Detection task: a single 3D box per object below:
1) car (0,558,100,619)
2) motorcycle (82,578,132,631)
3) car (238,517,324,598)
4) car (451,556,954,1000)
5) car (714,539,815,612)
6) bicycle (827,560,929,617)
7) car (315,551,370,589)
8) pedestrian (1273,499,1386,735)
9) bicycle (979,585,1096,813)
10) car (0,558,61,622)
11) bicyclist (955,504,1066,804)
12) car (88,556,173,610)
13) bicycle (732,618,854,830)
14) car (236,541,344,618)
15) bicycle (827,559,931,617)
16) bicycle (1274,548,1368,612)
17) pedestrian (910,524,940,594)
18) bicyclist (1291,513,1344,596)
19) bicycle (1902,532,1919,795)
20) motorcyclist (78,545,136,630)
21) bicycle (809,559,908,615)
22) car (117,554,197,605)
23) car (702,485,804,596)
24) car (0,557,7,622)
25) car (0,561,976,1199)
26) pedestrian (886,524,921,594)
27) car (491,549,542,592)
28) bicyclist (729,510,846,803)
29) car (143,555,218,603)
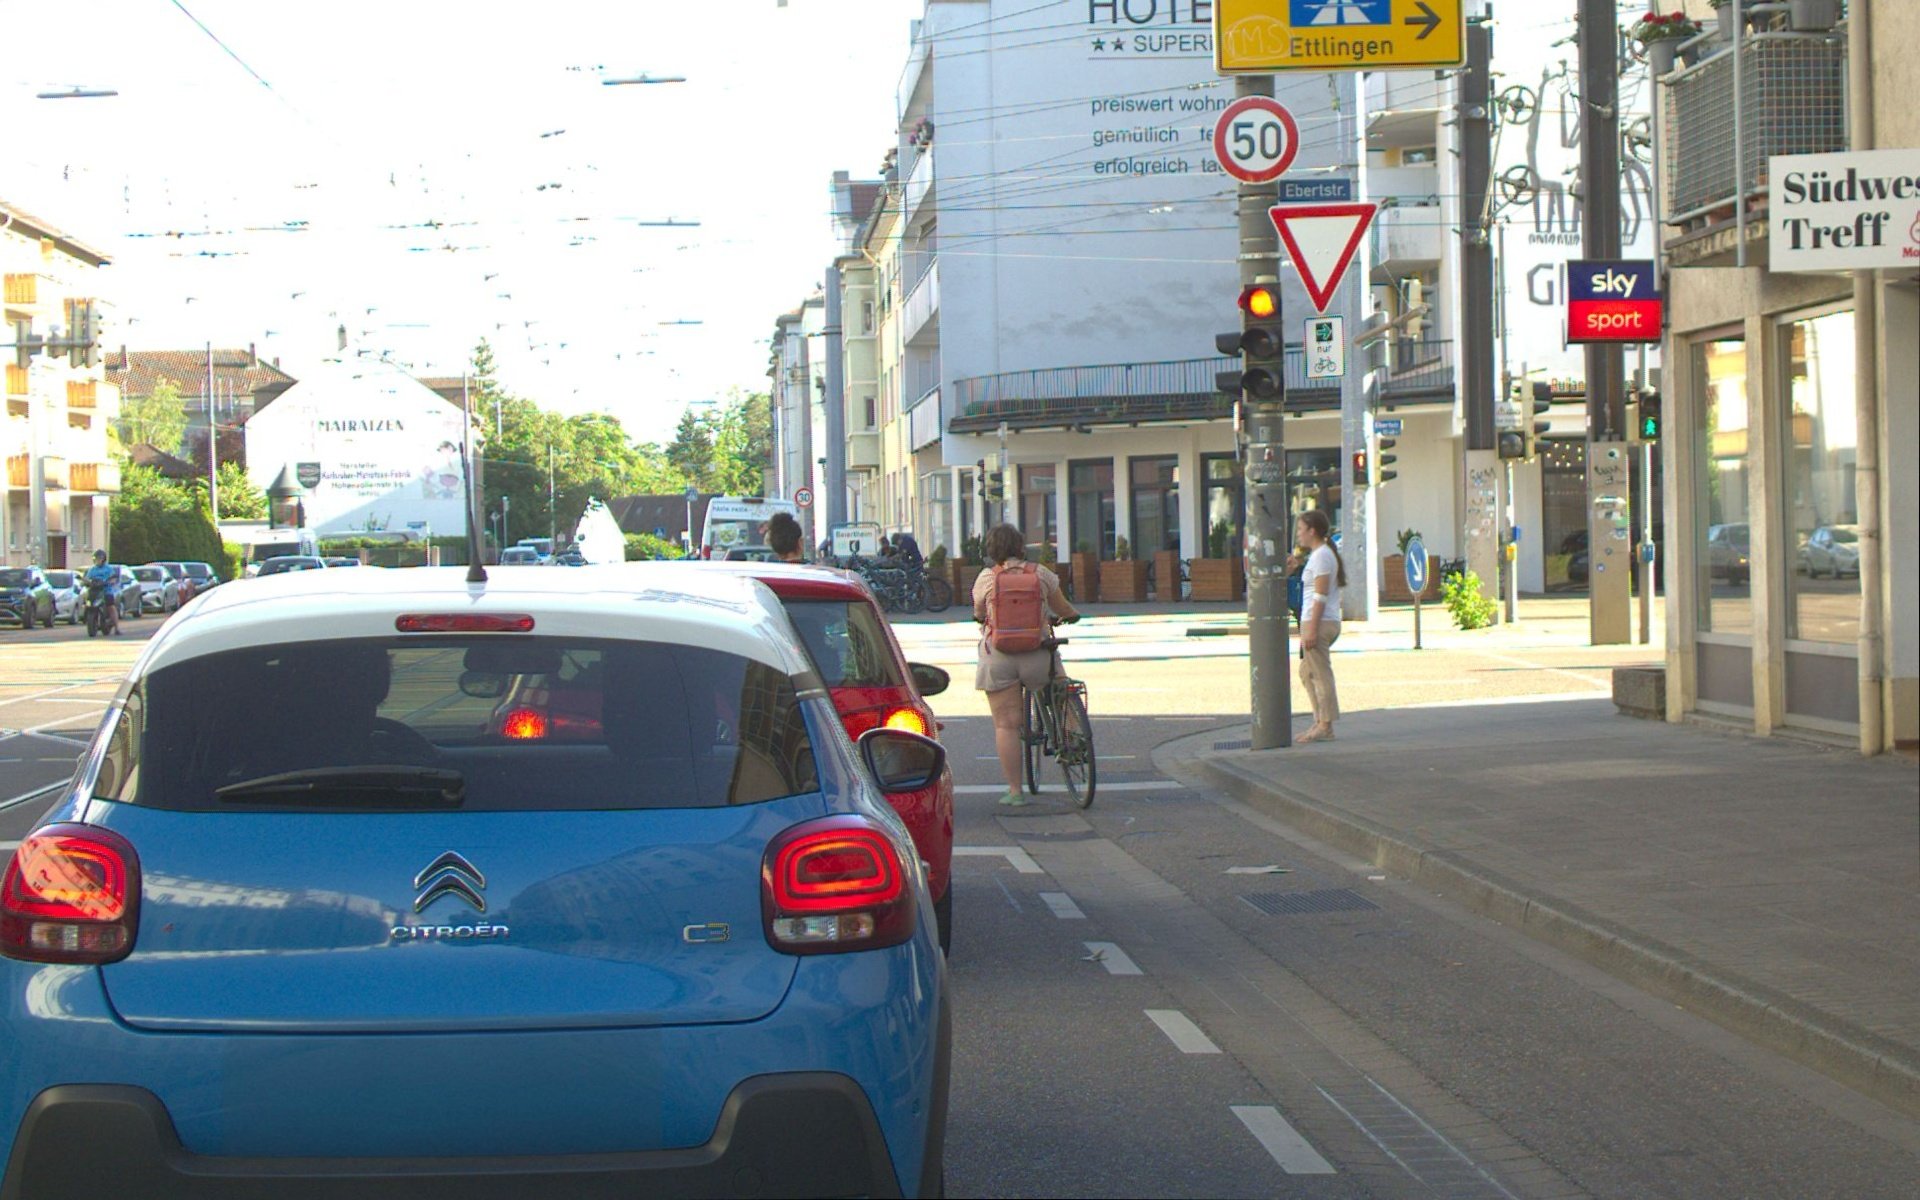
[{"bbox_3d":[-24.300,-0.330,91.946,1.950,1.514,4.001,-1,1,-6],"label":"car"},{"bbox_3d":[-16.689,0.077,67.285,0.751,0.973,2.098,-1,1,-9],"label":"motorcycle"},{"bbox_3d":[-23.655,-1.495,119.935,2.493,2.703,5.839,-1,1,-7],"label":"car"},{"bbox_3d":[-1.003,0.578,13.583,1.680,1.457,4.001,0,1,-4],"label":"car"},{"bbox_3d":[-3.877,-0.509,67.804,1.786,1.354,3.915,-1,1,-6],"label":"car"},{"bbox_3d":[-1.602,-0.230,67.119,1.904,1.061,0.642,-1,1,-7],"label":"bicycle"},{"bbox_3d":[-25.969,-1.269,144.568,1.950,1.514,4.001,-1,1,-6],"label":"car"},{"bbox_3d":[2.605,0.112,24.308,0.751,1.629,0.740,-1,1,6],"label":"pedestrian"},{"bbox_3d":[0.451,0.562,20.640,0.613,1.260,1.911,-1,1,-1],"label":"bicycle"},{"bbox_3d":[-23.780,-0.262,85.889,1.950,1.514,4.001,-1,1,-6],"label":"car"},{"bbox_3d":[0.293,0.306,20.598,0.600,1.740,1.084,-1,1,-1],"label":"bicyclist"},{"bbox_3d":[-24.920,-0.535,103.377,1.950,1.514,4.001,-1,1,-6],"label":"car"},{"bbox_3d":[-0.974,0.682,19.747,0.616,1.099,1.886,-1,1,-5],"label":"bicycle"},{"bbox_3d":[-14.962,-0.490,77.007,2.004,1.622,5.054,-1,1,-7],"label":"car"},{"bbox_3d":[-1.553,-0.236,65.813,1.904,1.061,0.642,-1,1,-7],"label":"bicycle"},{"bbox_3d":[6.298,-0.349,60.032,1.490,1.087,0.605,-1,1,26],"label":"bicycle"},{"bbox_3d":[-0.715,-0.841,70.005,0.467,1.415,0.527,-1,1,-13],"label":"pedestrian"},{"bbox_3d":[6.247,-0.802,60.042,0.728,1.429,0.605,-1,1,26],"label":"bicyclist"},{"bbox_3d":[4.917,0.315,15.751,0.640,1.260,1.911,-1,1,-1],"label":"bicycle"},{"bbox_3d":[-16.670,-0.248,67.212,0.991,1.625,0.739,-1,1,-9],"label":"motorcyclist"},{"bbox_3d":[-2.021,-0.267,68.311,1.904,1.061,0.642,-1,1,-7],"label":"bicycle"},{"bbox_3d":[-25.353,-0.665,108.656,1.950,1.514,4.001,-1,1,-6],"label":"car"},{"bbox_3d":[-4.427,-1.270,73.240,2.079,2.262,5.652,0,1,-4],"label":"car"},{"bbox_3d":[-23.315,-0.189,79.224,1.950,1.514,4.001,-1,1,-6],"label":"car"},{"bbox_3d":[-0.956,0.670,7.373,1.680,1.457,4.001,0,1,-4],"label":"car"},{"bbox_3d":[-1.148,-0.838,70.257,0.525,1.415,0.546,-1,1,20],"label":"pedestrian"},{"bbox_3d":[-22.036,-1.485,170.840,2.338,2.032,5.051,-1,1,-6],"label":"car"},{"bbox_3d":[-0.992,0.308,19.637,0.616,1.624,0.760,-1,1,-4],"label":"bicyclist"},{"bbox_3d":[-26.062,-0.713,114.998,1.950,1.514,4.001,-1,1,-6],"label":"car"}]
